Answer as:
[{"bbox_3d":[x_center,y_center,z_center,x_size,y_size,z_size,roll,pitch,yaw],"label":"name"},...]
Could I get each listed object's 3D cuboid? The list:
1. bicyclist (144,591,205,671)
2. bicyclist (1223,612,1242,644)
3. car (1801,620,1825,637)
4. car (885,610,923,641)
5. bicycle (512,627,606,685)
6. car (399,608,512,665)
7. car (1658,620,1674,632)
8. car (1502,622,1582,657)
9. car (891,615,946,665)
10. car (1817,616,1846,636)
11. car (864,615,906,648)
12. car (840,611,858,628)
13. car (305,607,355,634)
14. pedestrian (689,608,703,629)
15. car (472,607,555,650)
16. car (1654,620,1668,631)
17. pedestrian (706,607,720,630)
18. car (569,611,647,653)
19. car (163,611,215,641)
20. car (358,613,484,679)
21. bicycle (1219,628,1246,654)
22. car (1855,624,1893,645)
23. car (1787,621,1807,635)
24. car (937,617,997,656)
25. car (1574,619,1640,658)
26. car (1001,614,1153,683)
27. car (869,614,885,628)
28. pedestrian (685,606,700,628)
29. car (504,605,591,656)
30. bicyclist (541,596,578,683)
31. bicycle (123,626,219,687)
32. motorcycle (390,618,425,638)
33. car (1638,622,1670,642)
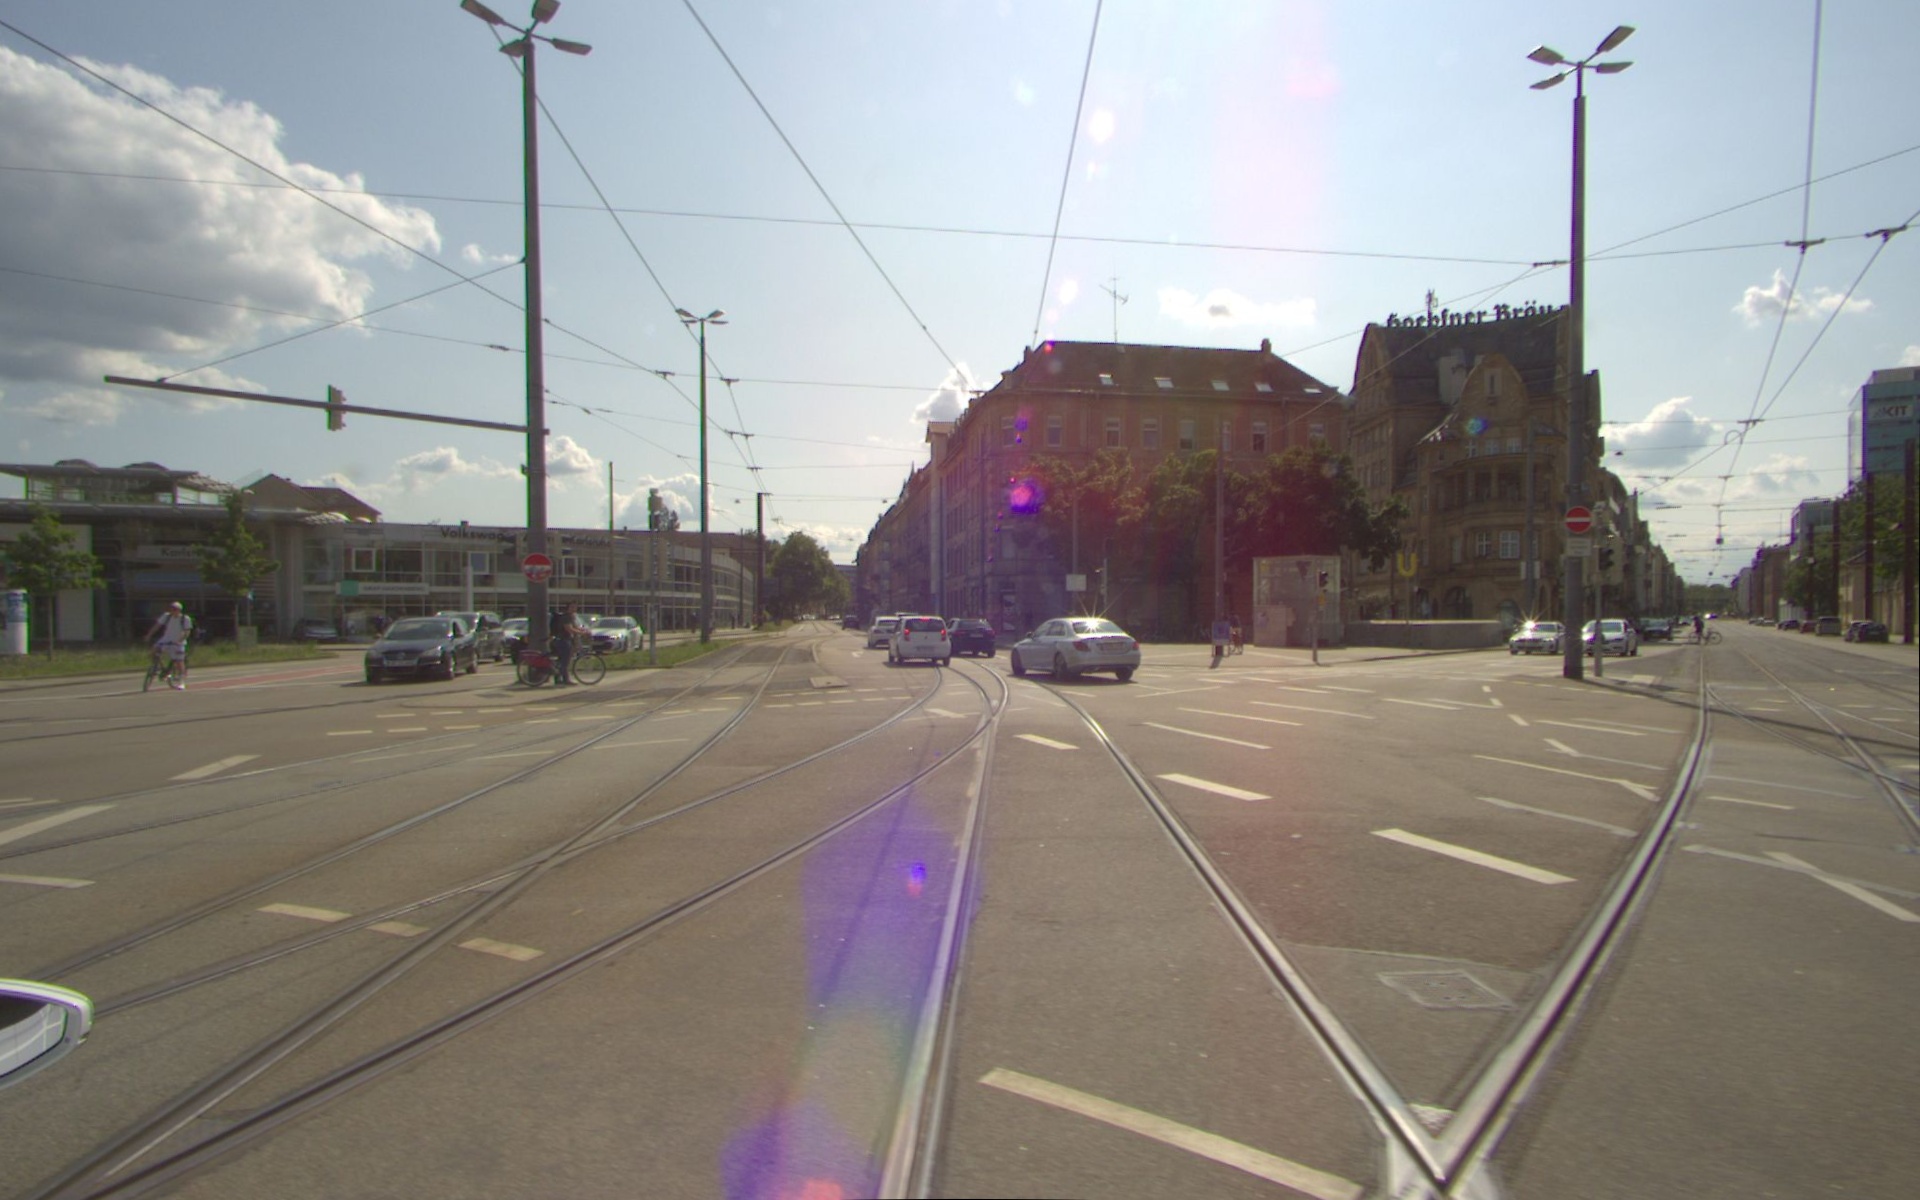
[{"bbox_3d":[-17.026,0.664,21.726,0.748,1.705,0.759,-1,1,-13],"label":"bicyclist"},{"bbox_3d":[10.837,1.114,39.835,0.625,1.236,0.923,0,1,8],"label":"bicyclist"},{"bbox_3d":[94.684,3.164,111.221,1.976,1.839,3.970,0,-1,40],"label":"car"},{"bbox_3d":[-3.233,1.473,57.393,1.808,1.673,3.999,1,-2,-9],"label":"car"},{"bbox_3d":[-8.194,1.138,20.523,1.754,1.140,0.638,1,0,-20],"label":"bicycle"},{"bbox_3d":[-15.478,1.066,30.958,1.709,1.594,3.999,-1,0,-5],"label":"car"},{"bbox_3d":[109.961,4.017,156.050,1.973,1.839,3.977,0,-1,35],"label":"car"},{"bbox_3d":[25.802,1.723,44.317,2.025,1.448,4.498,-2,-2,44],"label":"car"},{"bbox_3d":[-1.305,1.205,31.608,1.622,1.440,4.000,0,0,-3],"label":"car"},{"bbox_3d":[82.583,2.482,94.907,1.976,1.839,3.970,0,-1,40],"label":"car"},{"bbox_3d":[-3.426,1.407,45.241,1.820,1.437,3.679,1,-1,-5],"label":"car"},{"bbox_3d":[-11.758,2.074,105.601,1.807,1.673,4.000,1,-2,-8],"label":"car"},{"bbox_3d":[-39.488,1.303,62.844,1.793,1.554,3.908,-1,-1,-20],"label":"car"},{"bbox_3d":[-22.343,1.567,84.703,0.861,1.759,0.876,1,-1,8],"label":"pedestrian"},{"bbox_3d":[-16.620,1.014,37.445,1.600,1.481,3.967,-1,0,-5],"label":"car"},{"bbox_3d":[123.550,4.549,176.427,1.973,1.839,3.977,0,-1,35],"label":"car"},{"bbox_3d":[-21.259,1.560,86.323,0.861,1.947,0.876,1,-1,6],"label":"pedestrian"},{"bbox_3d":[-13.411,1.193,38.340,1.869,1.481,3.968,-1,0,-5],"label":"car"},{"bbox_3d":[-42.269,1.429,54.974,1.799,1.554,3.896,-1,-1,-31],"label":"car"},{"bbox_3d":[-12.587,1.027,23.607,1.711,1.391,3.637,-1,0,-14],"label":"car"},{"bbox_3d":[10.882,1.643,40.086,0.833,0.982,1.960,0,-1,9],"label":"bicycle"},{"bbox_3d":[64.743,2.414,70.935,1.978,1.394,3.966,0,-1,43],"label":"car"},{"bbox_3d":[112.452,3.806,134.530,1.976,1.839,3.970,0,-1,40],"label":"car"},{"bbox_3d":[0.216,1.361,38.198,1.672,1.390,4.131,0,-1,-8],"label":"car"},{"bbox_3d":[26.303,1.540,40.656,1.966,1.503,3.974,0,-2,37],"label":"car"},{"bbox_3d":[2.689,1.090,24.291,1.903,1.474,4.750,0,-1,-17],"label":"car"},{"bbox_3d":[-10.329,2.657,124.523,1.807,1.673,4.000,1,-2,-8],"label":"car"},{"bbox_3d":[-22.048,1.385,82.468,0.861,1.759,0.876,1,-1,8],"label":"pedestrian"},{"bbox_3d":[-12.864,0.917,31.457,1.662,1.481,3.966,-1,0,-10],"label":"car"},{"bbox_3d":[-8.211,0.807,20.546,0.651,1.761,0.638,1,0,-20],"label":"bicyclist"},{"bbox_3d":[-16.999,1.187,21.644,0.748,1.208,2.148,-1,0,-13],"label":"bicycle"},{"bbox_3d":[-33.933,1.707,61.484,0.557,1.200,1.959,1,-2,21],"label":"motorcycle"},{"bbox_3d":[50.755,2.343,73.278,1.869,1.438,3.977,0,-1,35],"label":"car"}]
